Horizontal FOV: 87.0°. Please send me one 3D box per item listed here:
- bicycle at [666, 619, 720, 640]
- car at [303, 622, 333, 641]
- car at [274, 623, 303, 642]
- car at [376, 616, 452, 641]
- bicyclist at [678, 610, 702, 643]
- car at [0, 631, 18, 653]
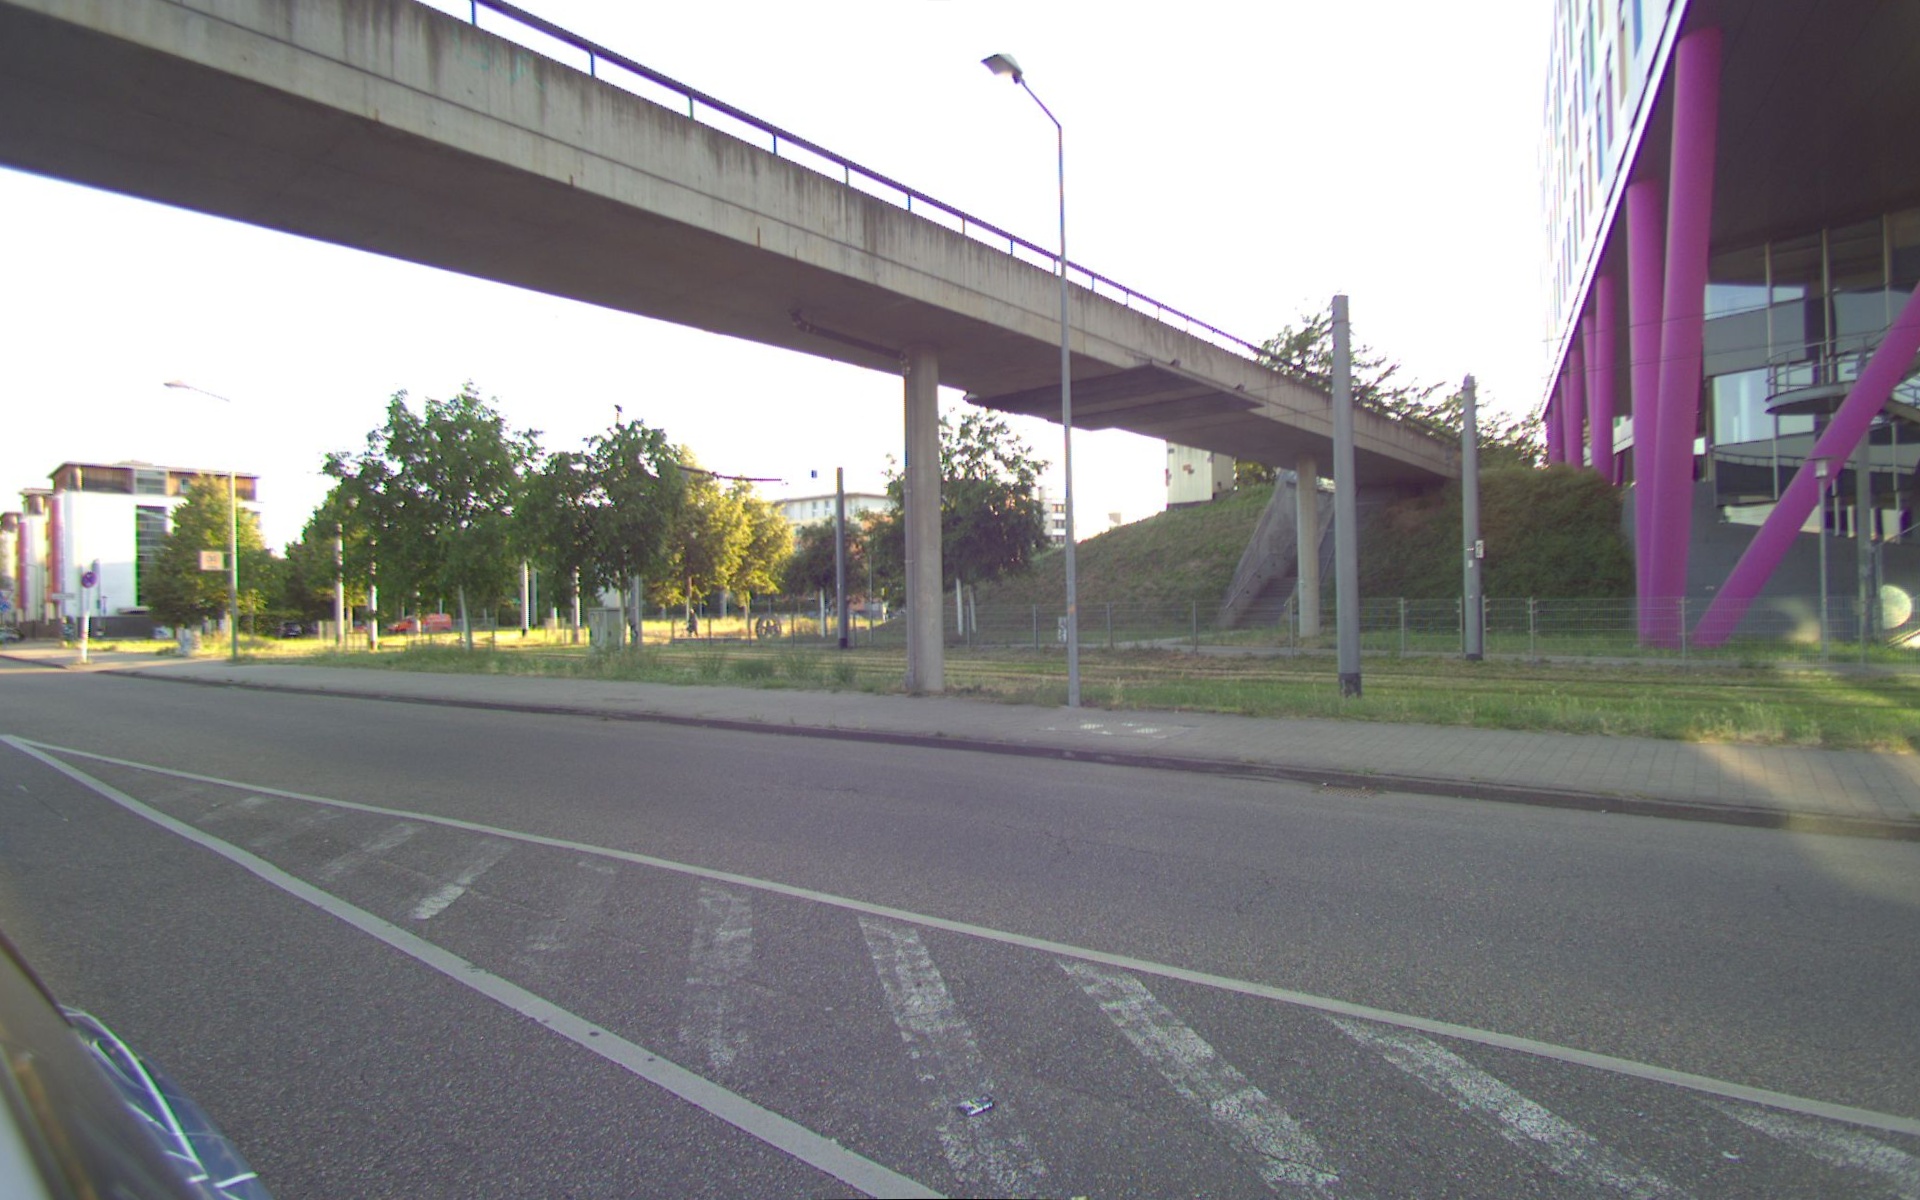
[{"bbox_3d":[-13.395,1.474,50.849,0.654,1.016,2.808,-2,-1,37],"label":"bicycle"},{"bbox_3d":[-55.179,2.724,86.942,1.913,1.541,4.009,-1,-1,-36],"label":"car"},{"bbox_3d":[-56.811,2.733,85.627,1.913,1.541,4.009,-1,-1,-36],"label":"car"},{"bbox_3d":[-47.004,2.442,87.186,5.439,2.029,2.003,-1,-1,-40],"label":"car"},{"bbox_3d":[-13.542,1.322,50.685,0.716,1.644,0.899,-2,-1,35],"label":"bicyclist"},{"bbox_3d":[-80.505,3.513,83.534,2.000,1.741,3.944,-2,-1,42],"label":"car"}]
